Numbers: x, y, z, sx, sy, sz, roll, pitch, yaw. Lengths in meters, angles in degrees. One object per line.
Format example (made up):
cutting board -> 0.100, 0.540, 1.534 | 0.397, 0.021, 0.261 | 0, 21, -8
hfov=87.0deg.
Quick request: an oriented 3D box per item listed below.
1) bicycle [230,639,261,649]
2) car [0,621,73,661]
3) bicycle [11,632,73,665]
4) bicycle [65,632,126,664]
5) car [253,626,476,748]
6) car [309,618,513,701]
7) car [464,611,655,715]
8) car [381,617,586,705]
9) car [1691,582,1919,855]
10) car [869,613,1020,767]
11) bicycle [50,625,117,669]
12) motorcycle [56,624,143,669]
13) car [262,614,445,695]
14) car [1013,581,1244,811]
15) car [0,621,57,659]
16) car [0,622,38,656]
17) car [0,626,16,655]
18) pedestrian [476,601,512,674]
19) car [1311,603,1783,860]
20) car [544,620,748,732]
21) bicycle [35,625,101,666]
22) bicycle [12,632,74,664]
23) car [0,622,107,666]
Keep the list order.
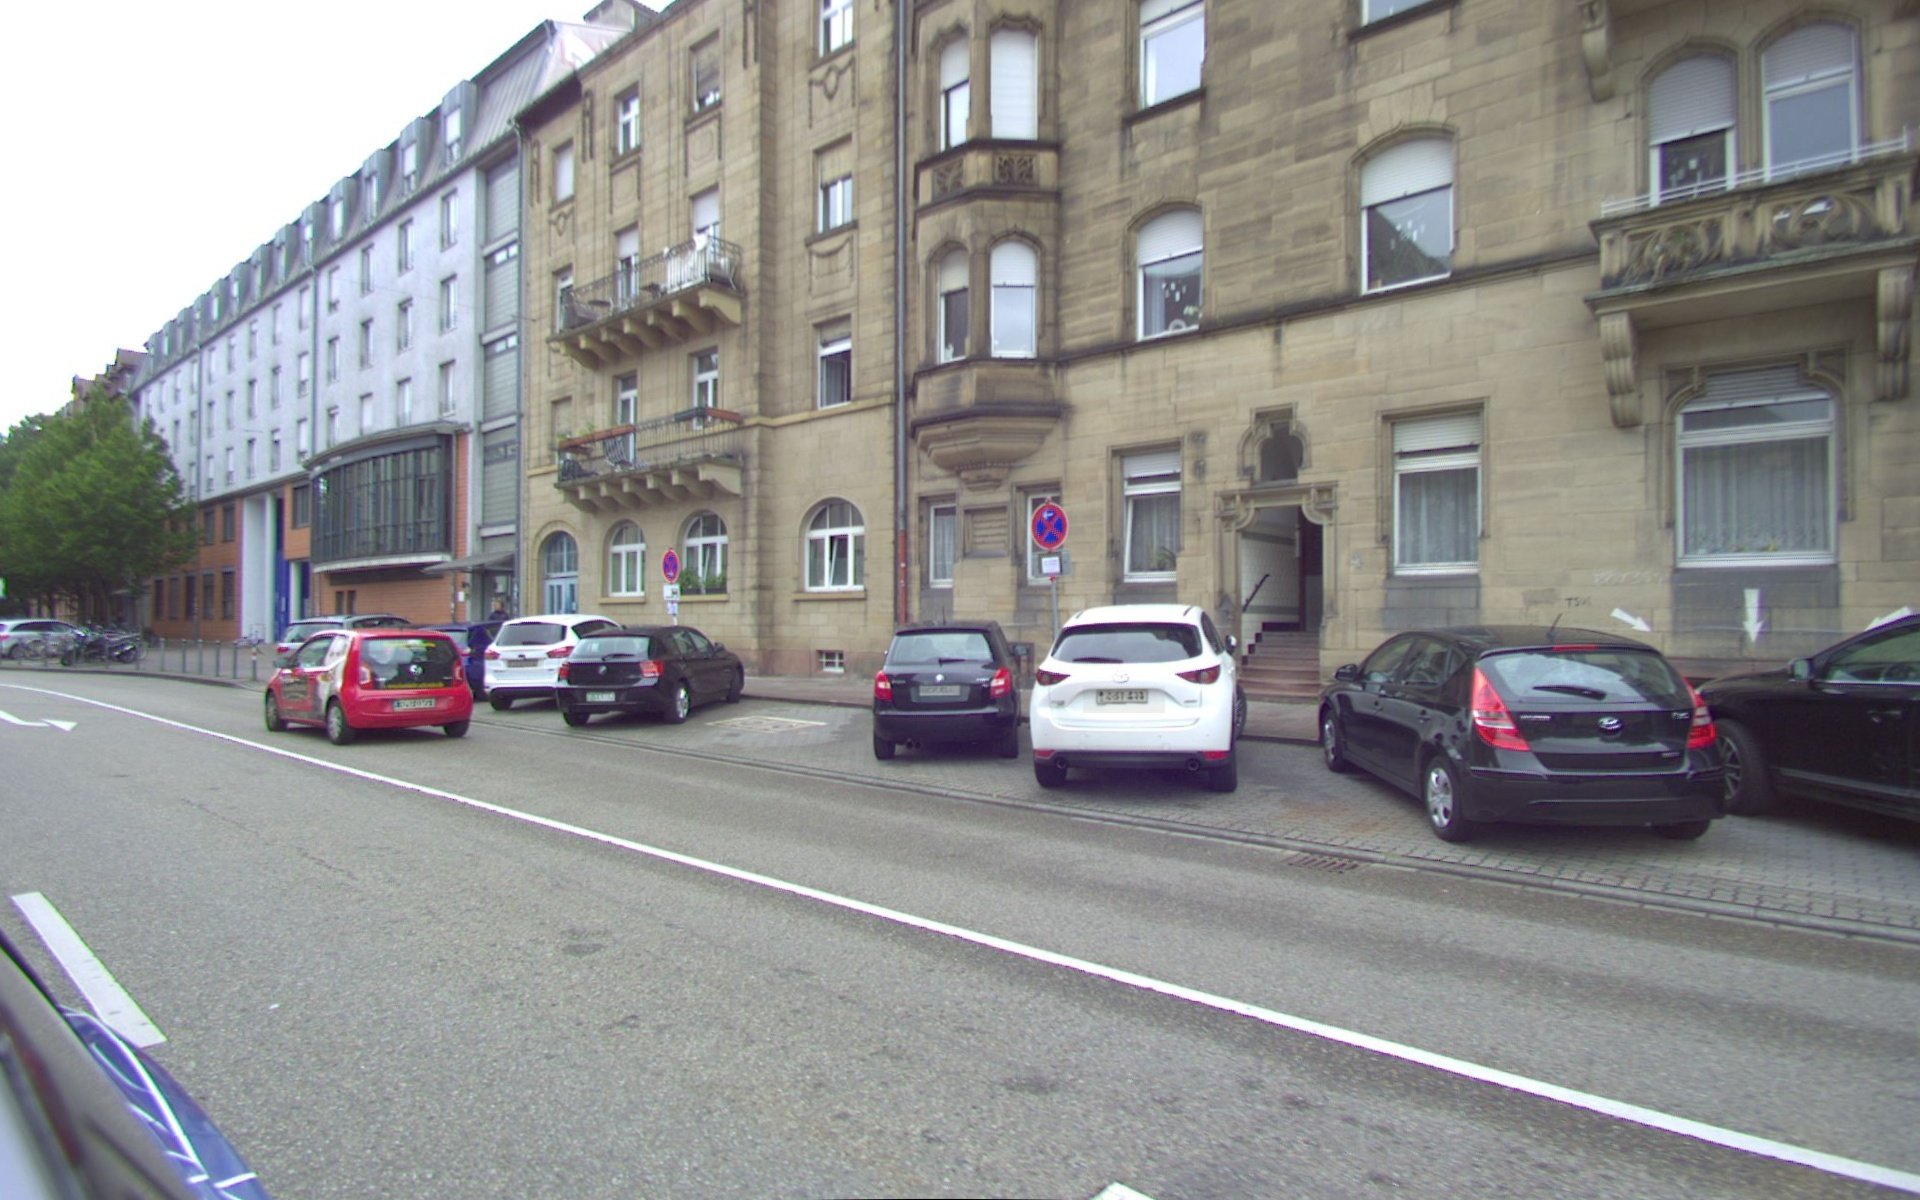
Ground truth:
bicycle -> -31.167, 1.914, 44.133 | 0.527, 0.440, 0.997 | 1, -1, 43
car -> -40.460, 1.731, 42.823 | 1.984, 1.641, 3.976 | 0, -2, 18
bicycle -> -32.698, 1.717, 36.065 | 0.416, 1.082, 1.609 | -1, 0, 40
bicycle -> -30.979, 1.714, 36.295 | 0.416, 1.082, 1.609 | -1, 0, 40
car -> -8.225, 1.086, 13.879 | 3.510, 1.458, 1.632 | -1, -2, 42
car -> -11.469, 1.195, 21.472 | 1.714, 1.449, 3.989 | -2, 0, 9
car -> -7.053, 1.036, 18.300 | 1.681, 1.565, 3.996 | -2, 0, 3
car -> -9.250, 1.132, 20.005 | 1.804, 1.456, 3.736 | -1, 0, 11
car -> 6.702, 0.717, 5.914 | 1.707, 1.664, 4.226 | 0, -1, -1
car -> -0.079, 0.956, 12.334 | 1.549, 1.508, 3.809 | 0, 0, 3
bicycle -> -28.958, 1.534, 33.453 | 0.416, 1.363, 1.609 | -1, 0, 40
motorcycle -> -28.046, 1.484, 33.001 | 0.599, 1.363, 2.096 | -1, 0, 42
car -> -13.842, 1.179, 23.387 | 1.710, 1.565, 3.998 | -2, 0, 2
car -> 1.905, 0.743, 10.308 | 1.825, 1.736, 3.979 | 0, 3, 17
car -> -42.668, 1.758, 44.500 | 1.984, 1.641, 3.976 | 0, -2, 18
car -> -47.122, 1.867, 48.434 | 1.984, 1.641, 3.976 | 0, -2, 18
car -> -52.162, 2.131, 52.738 | 1.724, 1.508, 3.976 | 0, -2, 18
pedestrian -> -11.848, 0.948, 25.742 | 0.642, 1.837, 0.613 | -2, -2, 41
car -> 4.328, 0.834, 8.293 | 1.709, 1.506, 3.995 | -2, 1, 4
car -> -4.705, 1.074, 15.792 | 1.641, 1.428, 3.993 | 0, 0, 6
bicycle -> -29.862, 1.516, 33.880 | 0.416, 1.299, 1.609 | -1, 0, 40
bicycle -> -33.021, 1.718, 36.459 | 0.416, 1.082, 1.609 | -1, 0, 40
car -> -35.832, 1.666, 39.196 | 1.758, 1.641, 3.976 | 0, -2, 18
